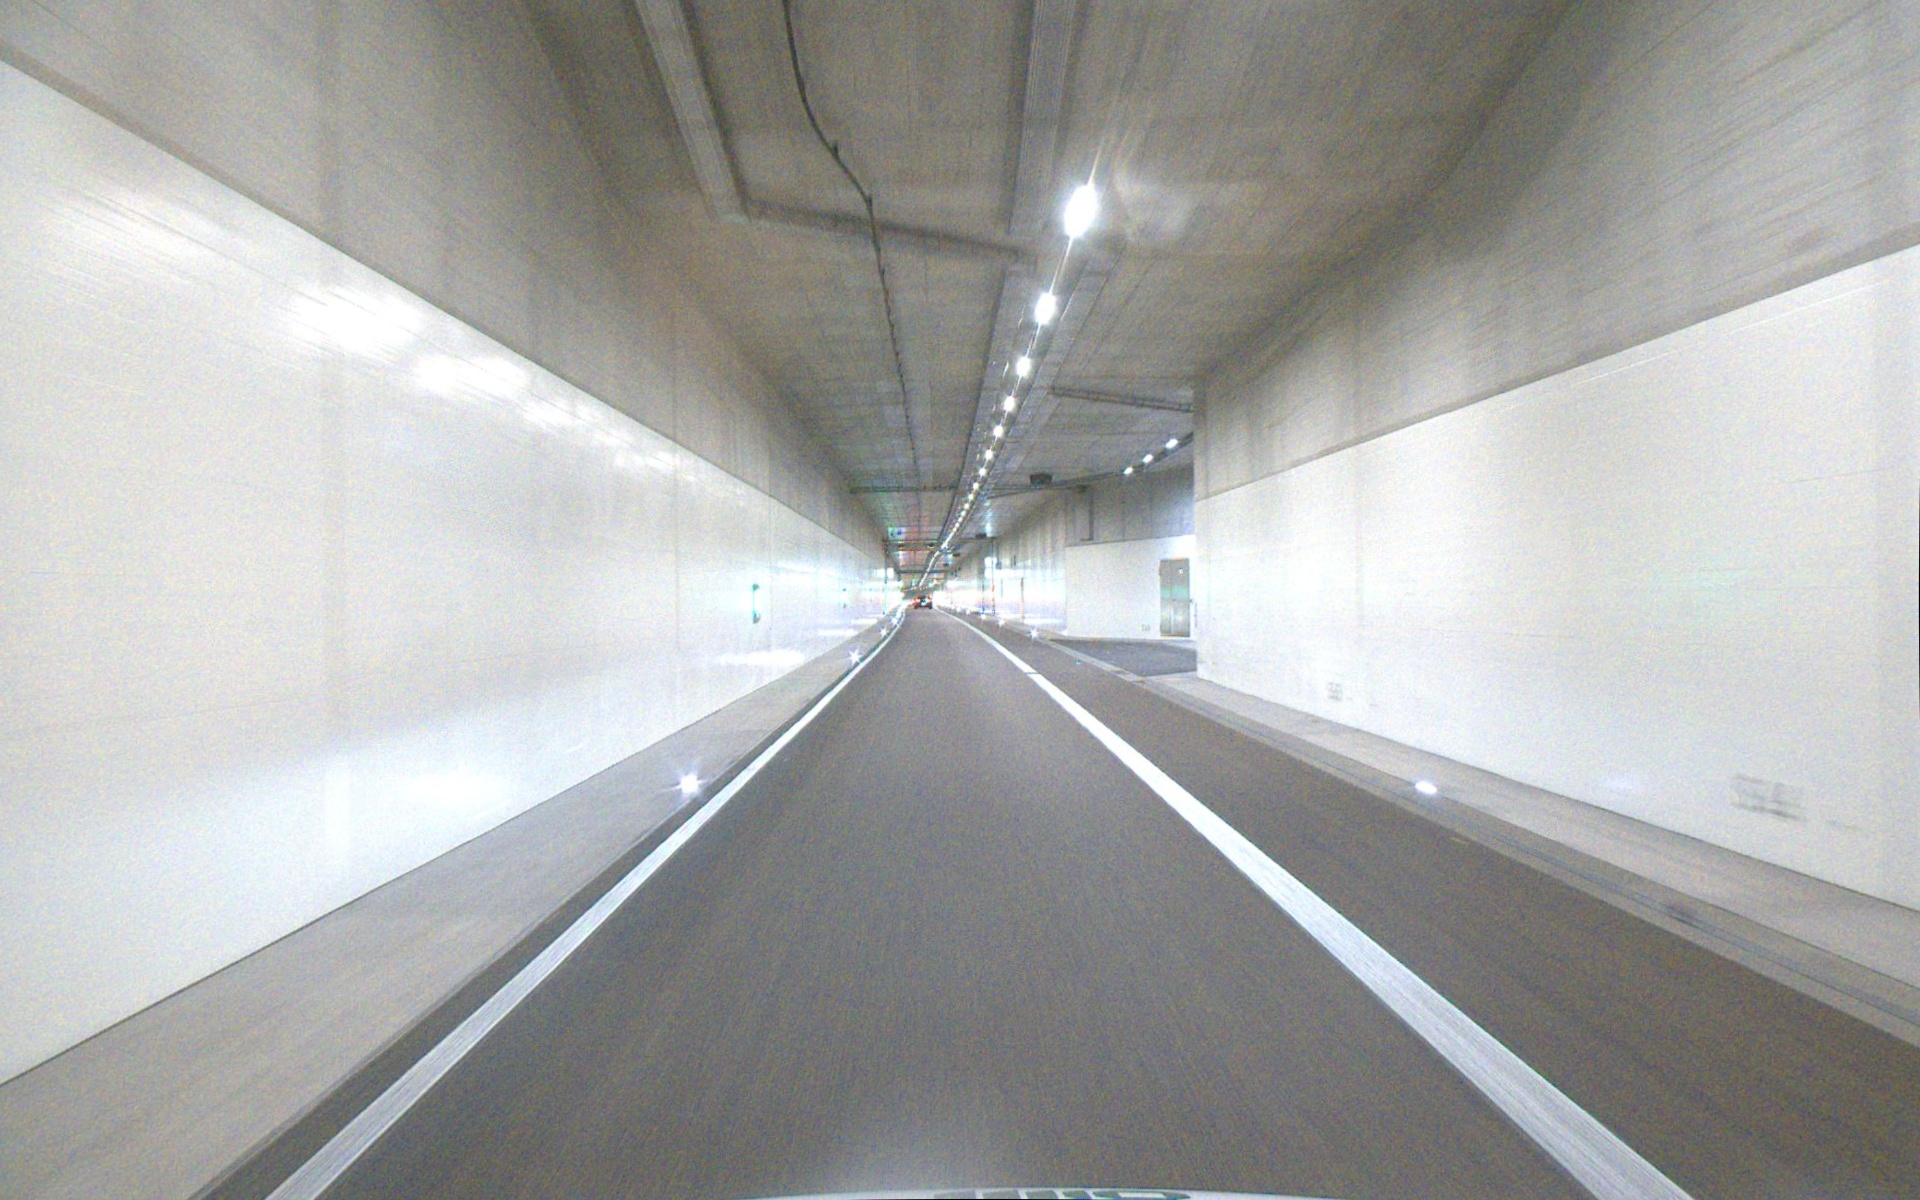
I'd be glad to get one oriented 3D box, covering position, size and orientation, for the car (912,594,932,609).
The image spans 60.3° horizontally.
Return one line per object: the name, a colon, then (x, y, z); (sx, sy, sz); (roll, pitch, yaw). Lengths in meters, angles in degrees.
car: (-3.968, 0.174, 170.463); (1.954, 1.445, 3.998); (-3, 0, -2)
